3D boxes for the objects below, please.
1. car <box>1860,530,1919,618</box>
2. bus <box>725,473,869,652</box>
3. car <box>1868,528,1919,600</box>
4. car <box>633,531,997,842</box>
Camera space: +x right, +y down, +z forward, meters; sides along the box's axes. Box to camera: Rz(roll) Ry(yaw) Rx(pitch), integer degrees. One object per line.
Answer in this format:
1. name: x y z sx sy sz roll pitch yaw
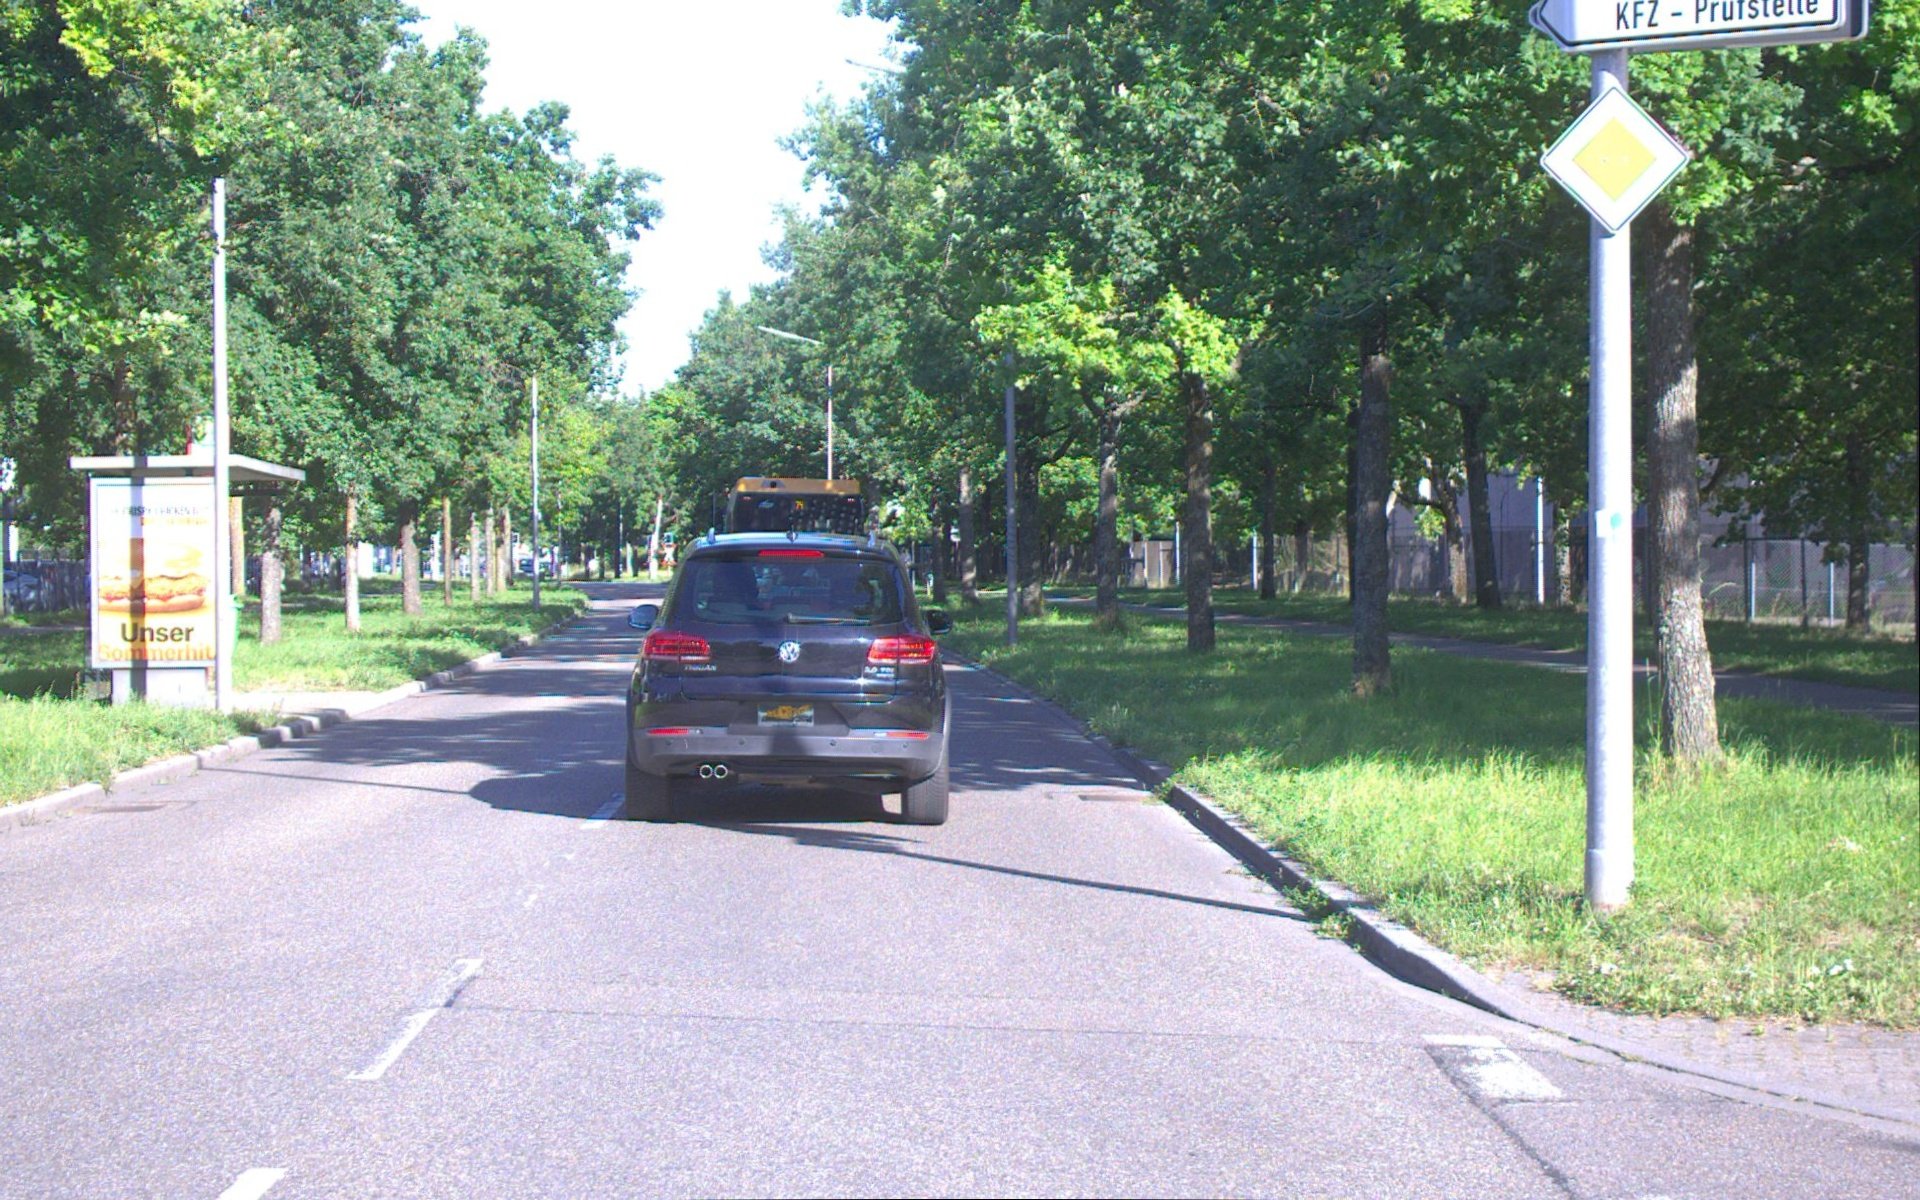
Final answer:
1. car: 20.151 -0.544 69.912 2.184 1.738 4.642 0 1 -4
2. bus: -3.383 -0.812 72.005 2.764 3.445 11.212 0 1 -2
3. car: 24.720 -0.890 83.612 4.625 1.738 2.192 0 1 -8
4. car: -0.904 0.428 20.868 1.936 1.650 4.428 1 1 -3
